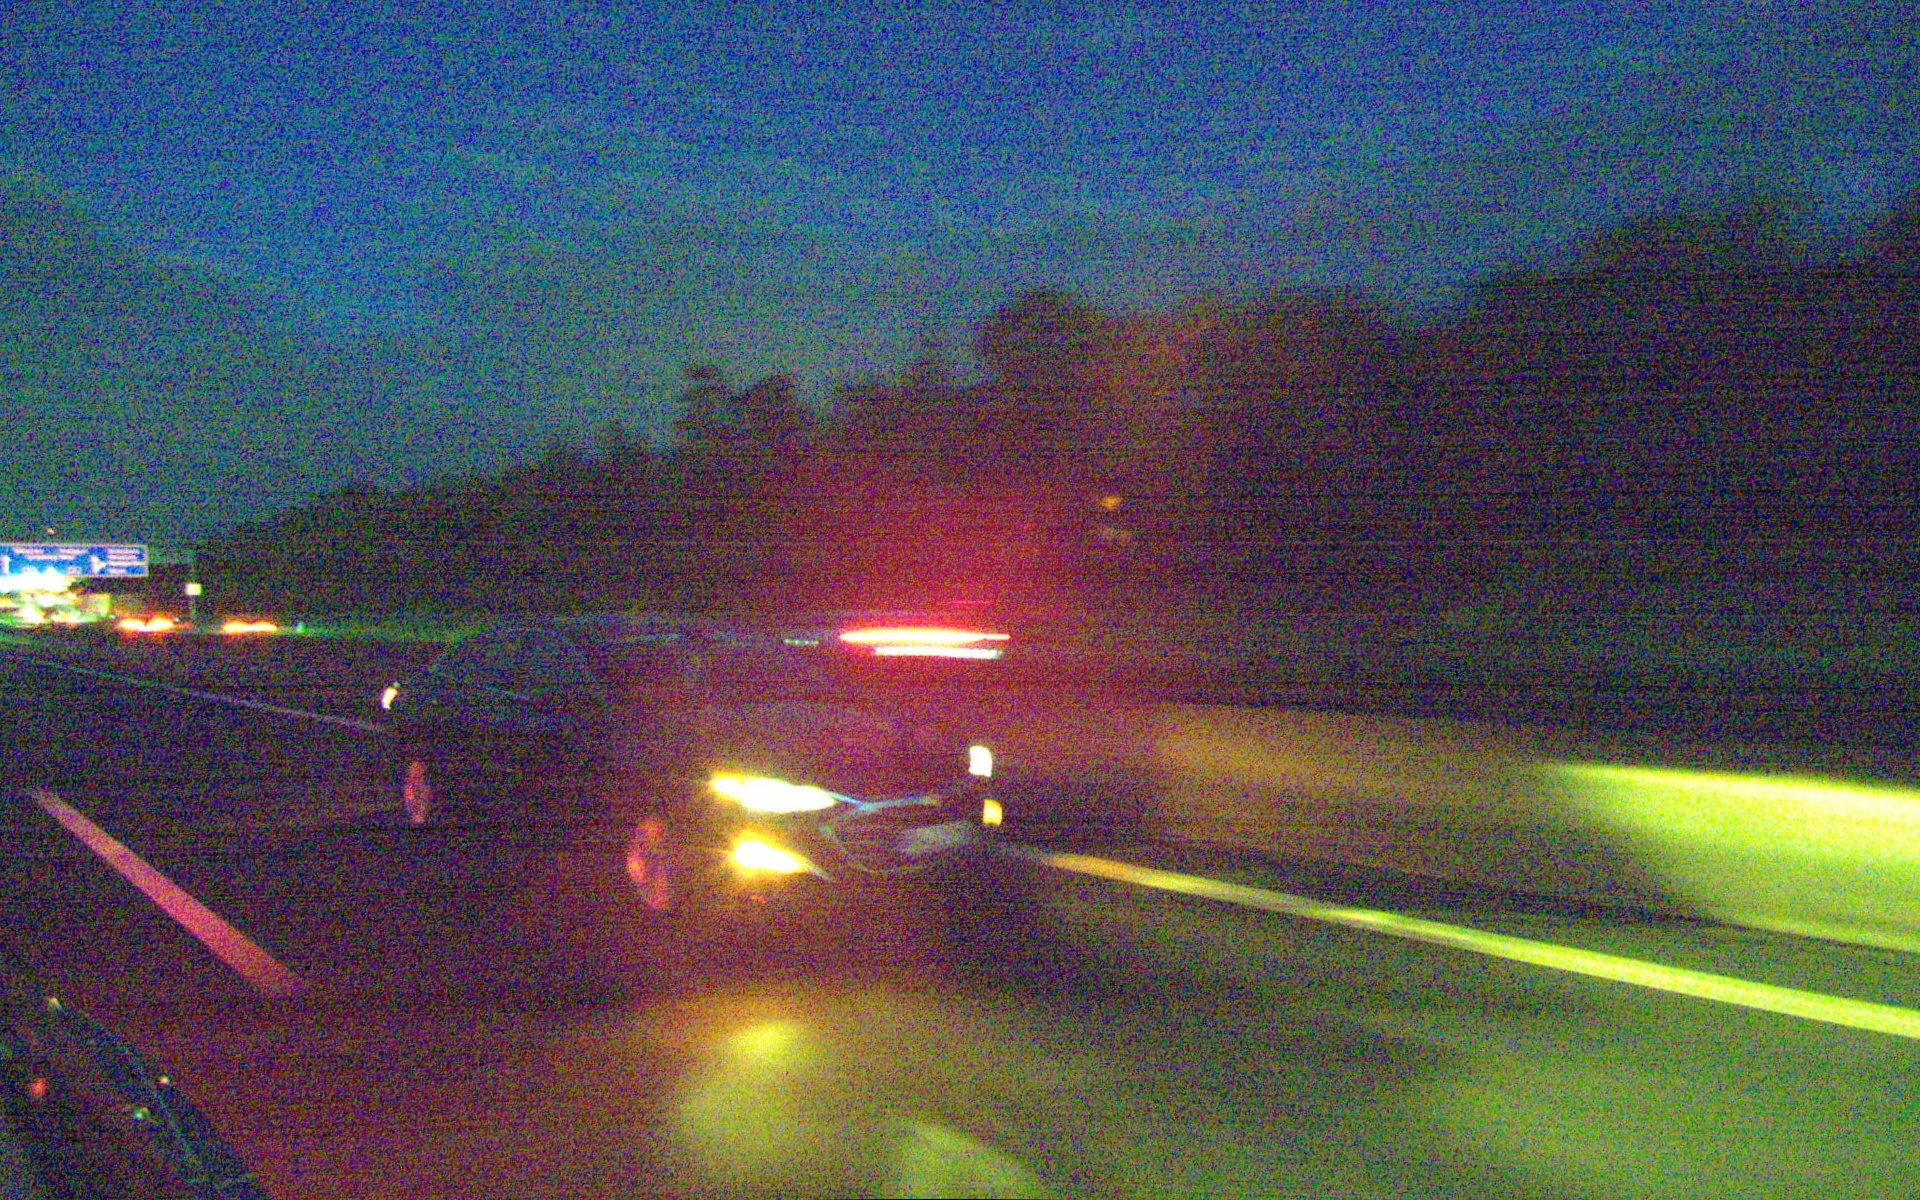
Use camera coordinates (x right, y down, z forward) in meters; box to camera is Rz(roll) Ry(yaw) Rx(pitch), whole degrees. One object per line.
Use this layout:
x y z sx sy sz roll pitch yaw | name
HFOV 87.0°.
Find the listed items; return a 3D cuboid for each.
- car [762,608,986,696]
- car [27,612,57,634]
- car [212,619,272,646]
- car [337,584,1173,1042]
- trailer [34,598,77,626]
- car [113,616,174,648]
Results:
-1.945 1.041 21.751 4.948 1.682 1.988 -1 -1 43 | car
-109.764 2.701 121.009 6.214 2.537 2.078 -1 -1 42 | car
-40.599 1.814 57.207 4.209 1.478 1.988 -1 -1 43 | car
-1.727 0.787 6.053 5.650 1.530 1.972 -2 -1 43 | car
-134.408 1.722 150.362 13.809 4.010 3.393 -1 -1 42 | trailer
-45.061 1.753 55.831 4.482 1.682 1.988 -1 -1 43 | car
